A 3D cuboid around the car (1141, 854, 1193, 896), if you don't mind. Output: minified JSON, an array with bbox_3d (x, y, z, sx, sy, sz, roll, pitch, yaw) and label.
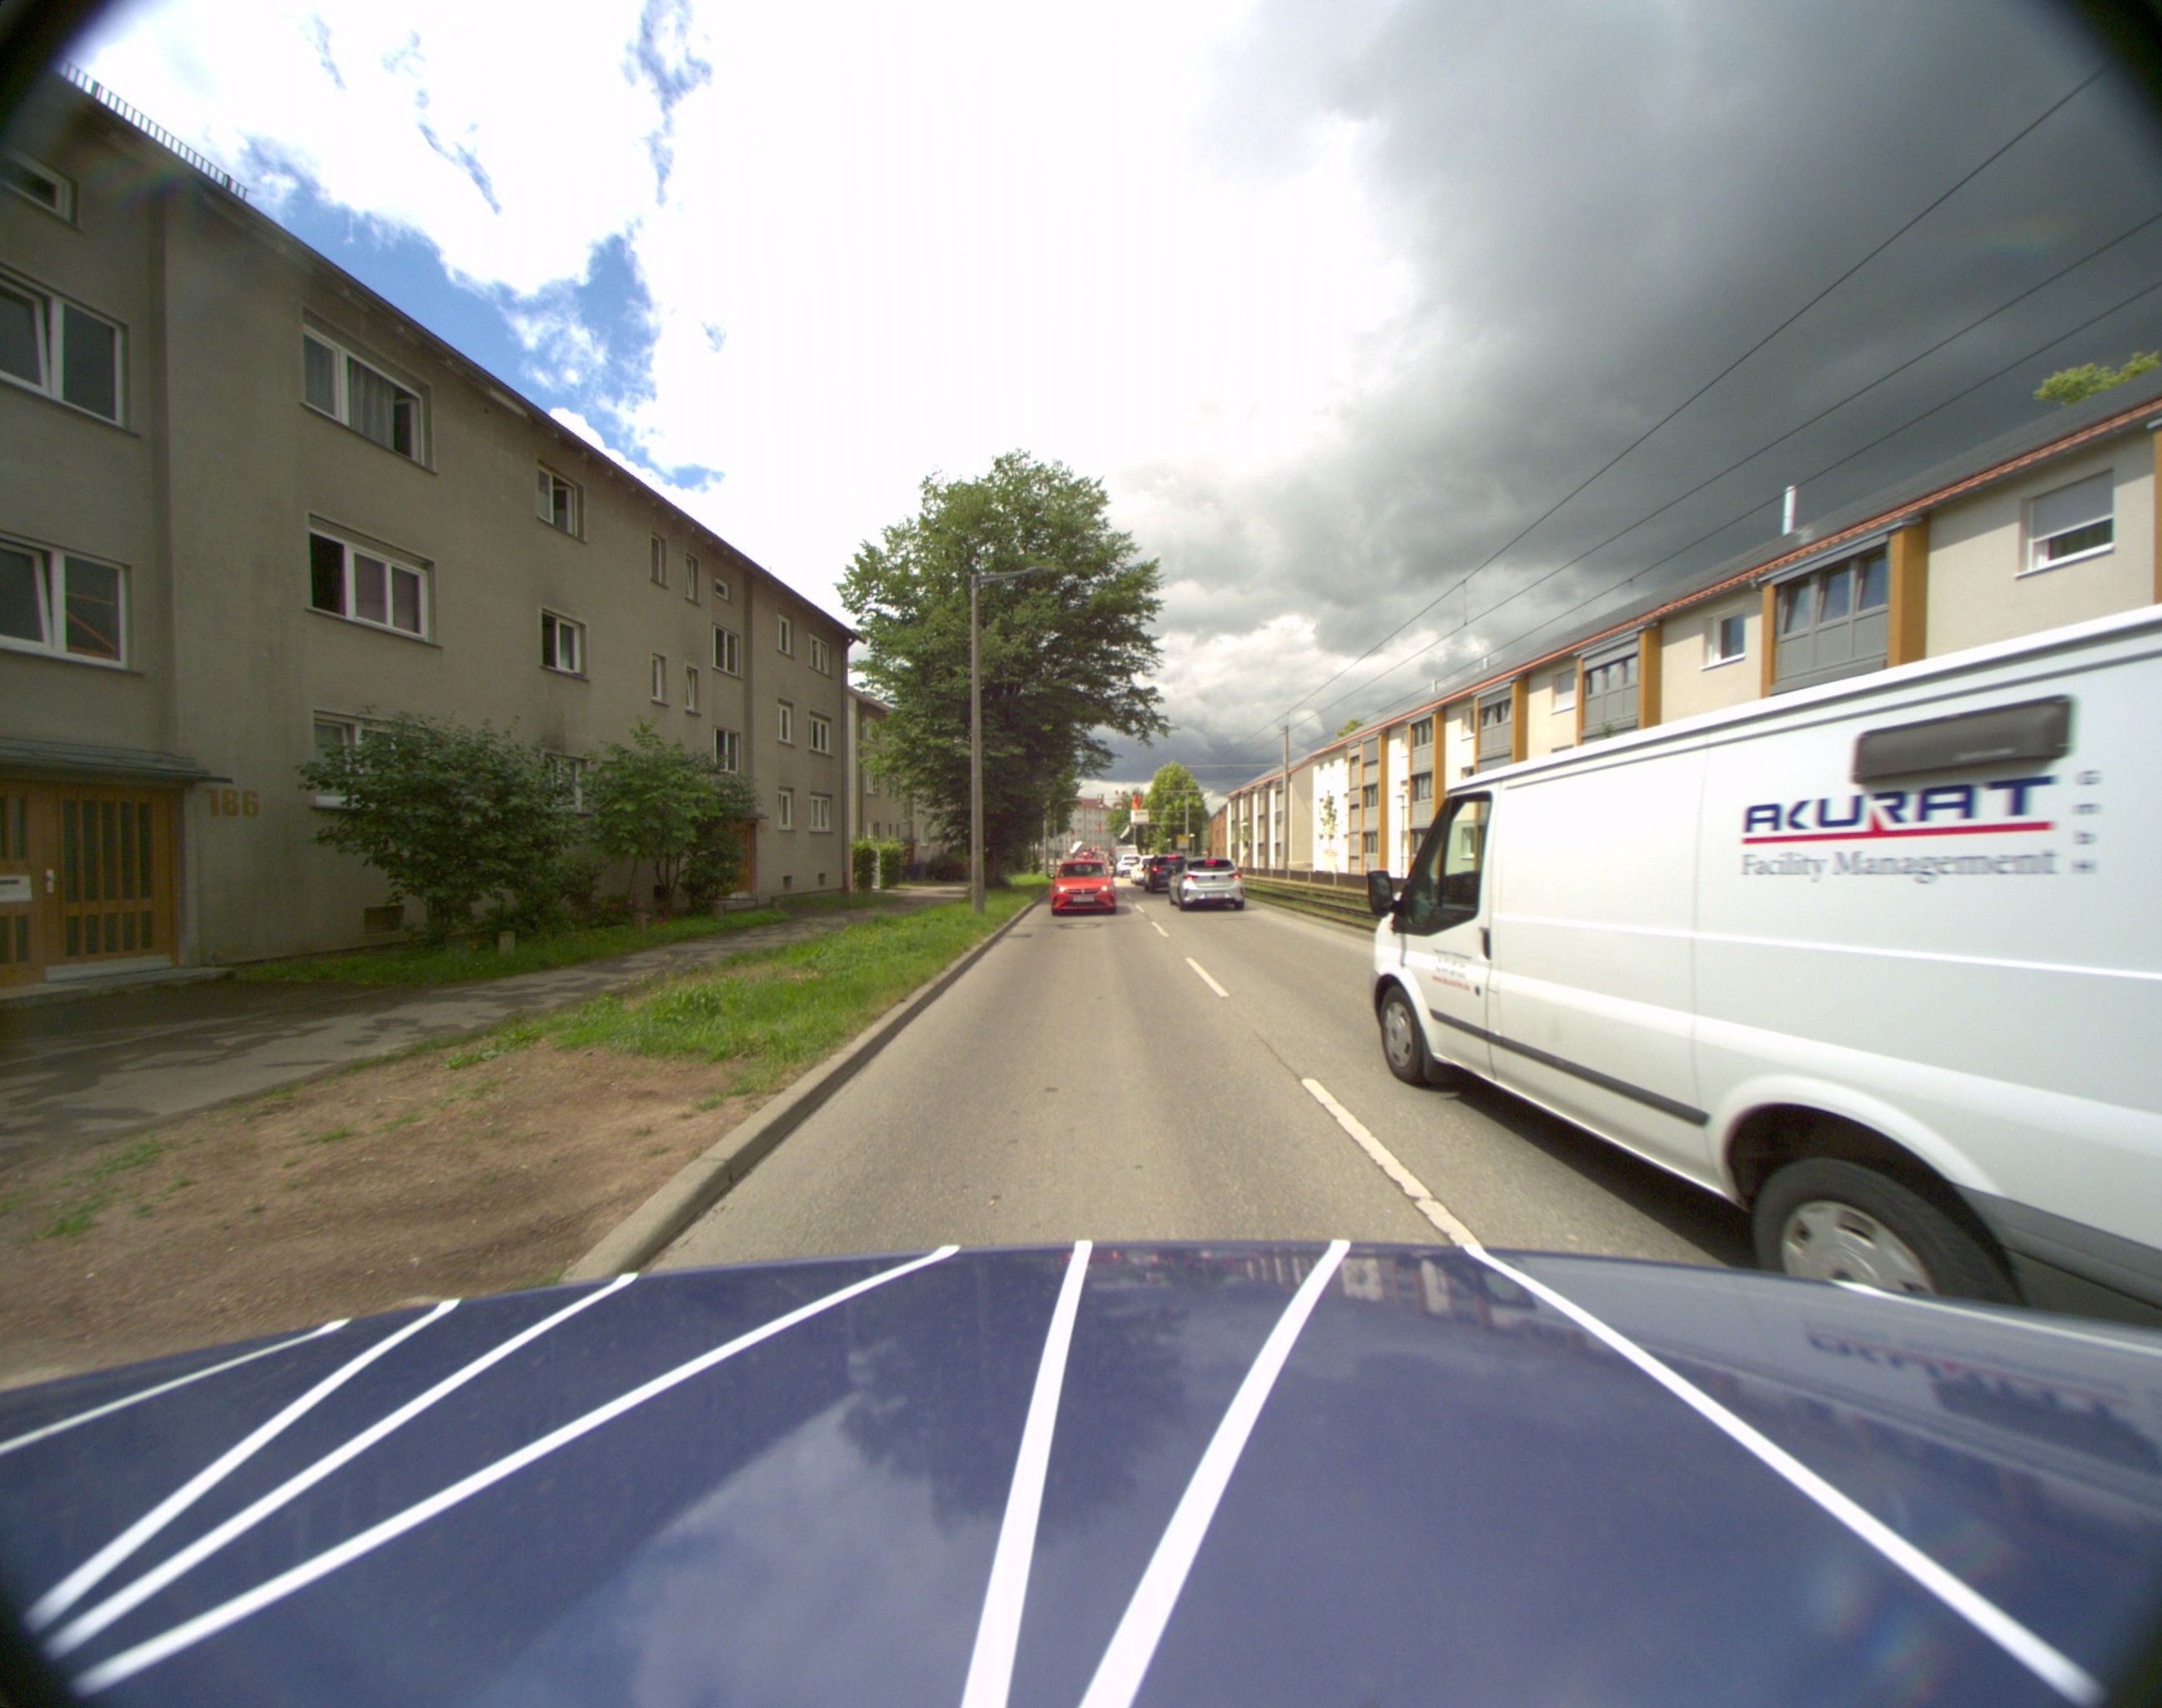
[{"bbox_3d":[3.416,0.813,30.694,1.666,1.513,3.678,-2,0,1],"label":"car"}]

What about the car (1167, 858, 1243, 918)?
[{"bbox_3d":[3.384,0.882,21.282,1.613,1.405,3.647,-2,1,2],"label":"car"}]

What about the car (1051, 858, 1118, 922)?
[{"bbox_3d":[0.108,0.921,21.024,1.666,1.513,3.786,-2,0,0],"label":"car"}]

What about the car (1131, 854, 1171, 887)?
[{"bbox_3d":[3.498,0.795,38.647,1.666,1.513,3.786,-2,0,1],"label":"car"}]

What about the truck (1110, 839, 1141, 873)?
[{"bbox_3d":[3.793,0.093,65.274,2.096,2.723,5.096,-2,1,-2],"label":"truck"}]

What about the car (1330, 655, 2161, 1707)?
[{"bbox_3d":[2.878,0.615,3.232,1.999,1.984,4.785,-2,0,-1],"label":"car"}]

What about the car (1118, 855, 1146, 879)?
[{"bbox_3d":[3.508,0.874,53.015,1.666,1.513,3.861,-2,0,1],"label":"car"}]
